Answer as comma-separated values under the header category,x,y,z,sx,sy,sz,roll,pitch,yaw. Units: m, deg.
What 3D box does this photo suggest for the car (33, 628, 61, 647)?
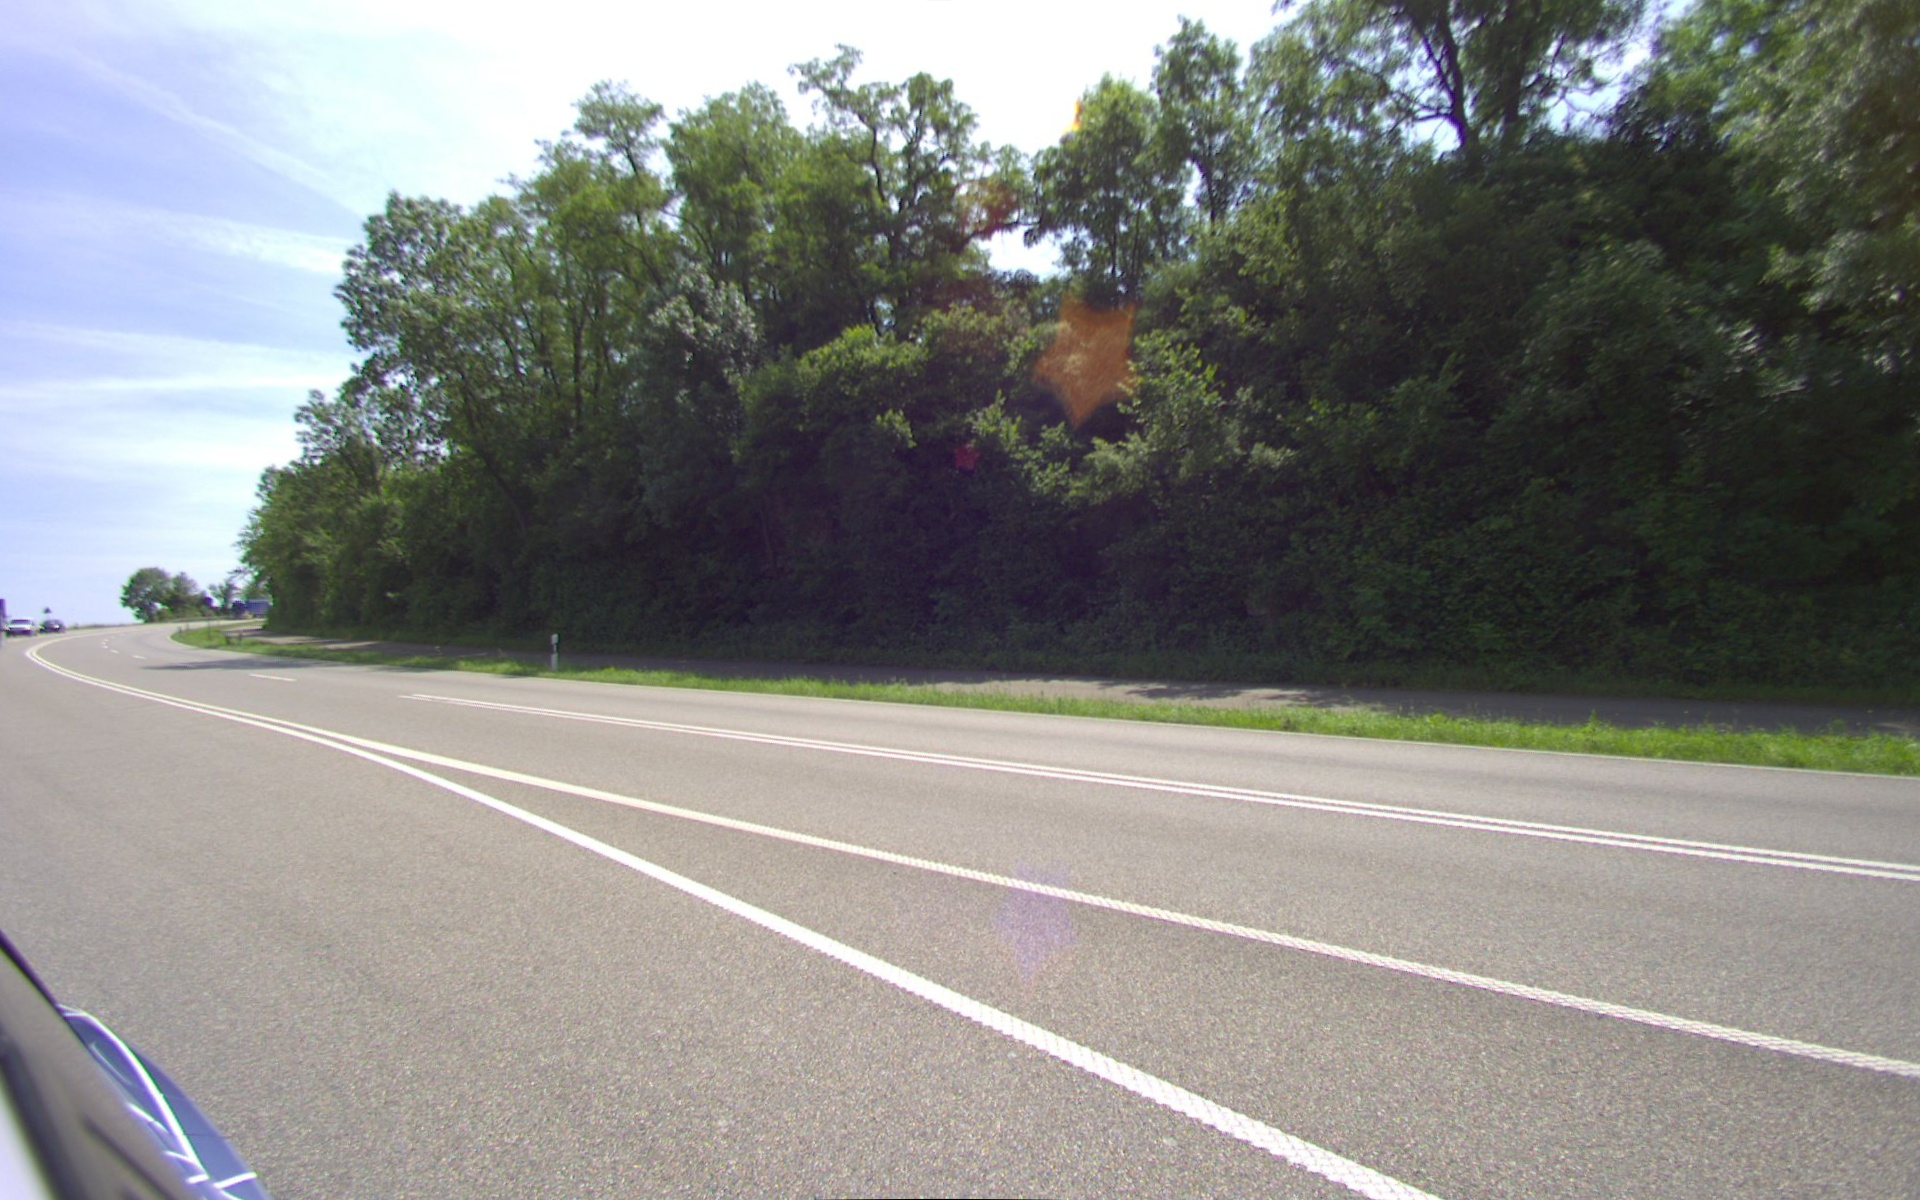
category,x,y,z,sx,sy,sz,roll,pitch,yaw
car,-98.822,4.064,109.564,1.738,1.874,3.819,0,0,-35

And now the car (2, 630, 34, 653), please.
category,x,y,z,sx,sy,sz,roll,pitch,yaw
car,-88.805,3.879,95.432,1.823,2.029,3.880,0,0,-38

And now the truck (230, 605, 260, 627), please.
category,x,y,z,sx,sy,sz,roll,pitch,yaw
truck,-150.243,3.374,212.702,4.327,4.493,14.753,-1,-1,-32
